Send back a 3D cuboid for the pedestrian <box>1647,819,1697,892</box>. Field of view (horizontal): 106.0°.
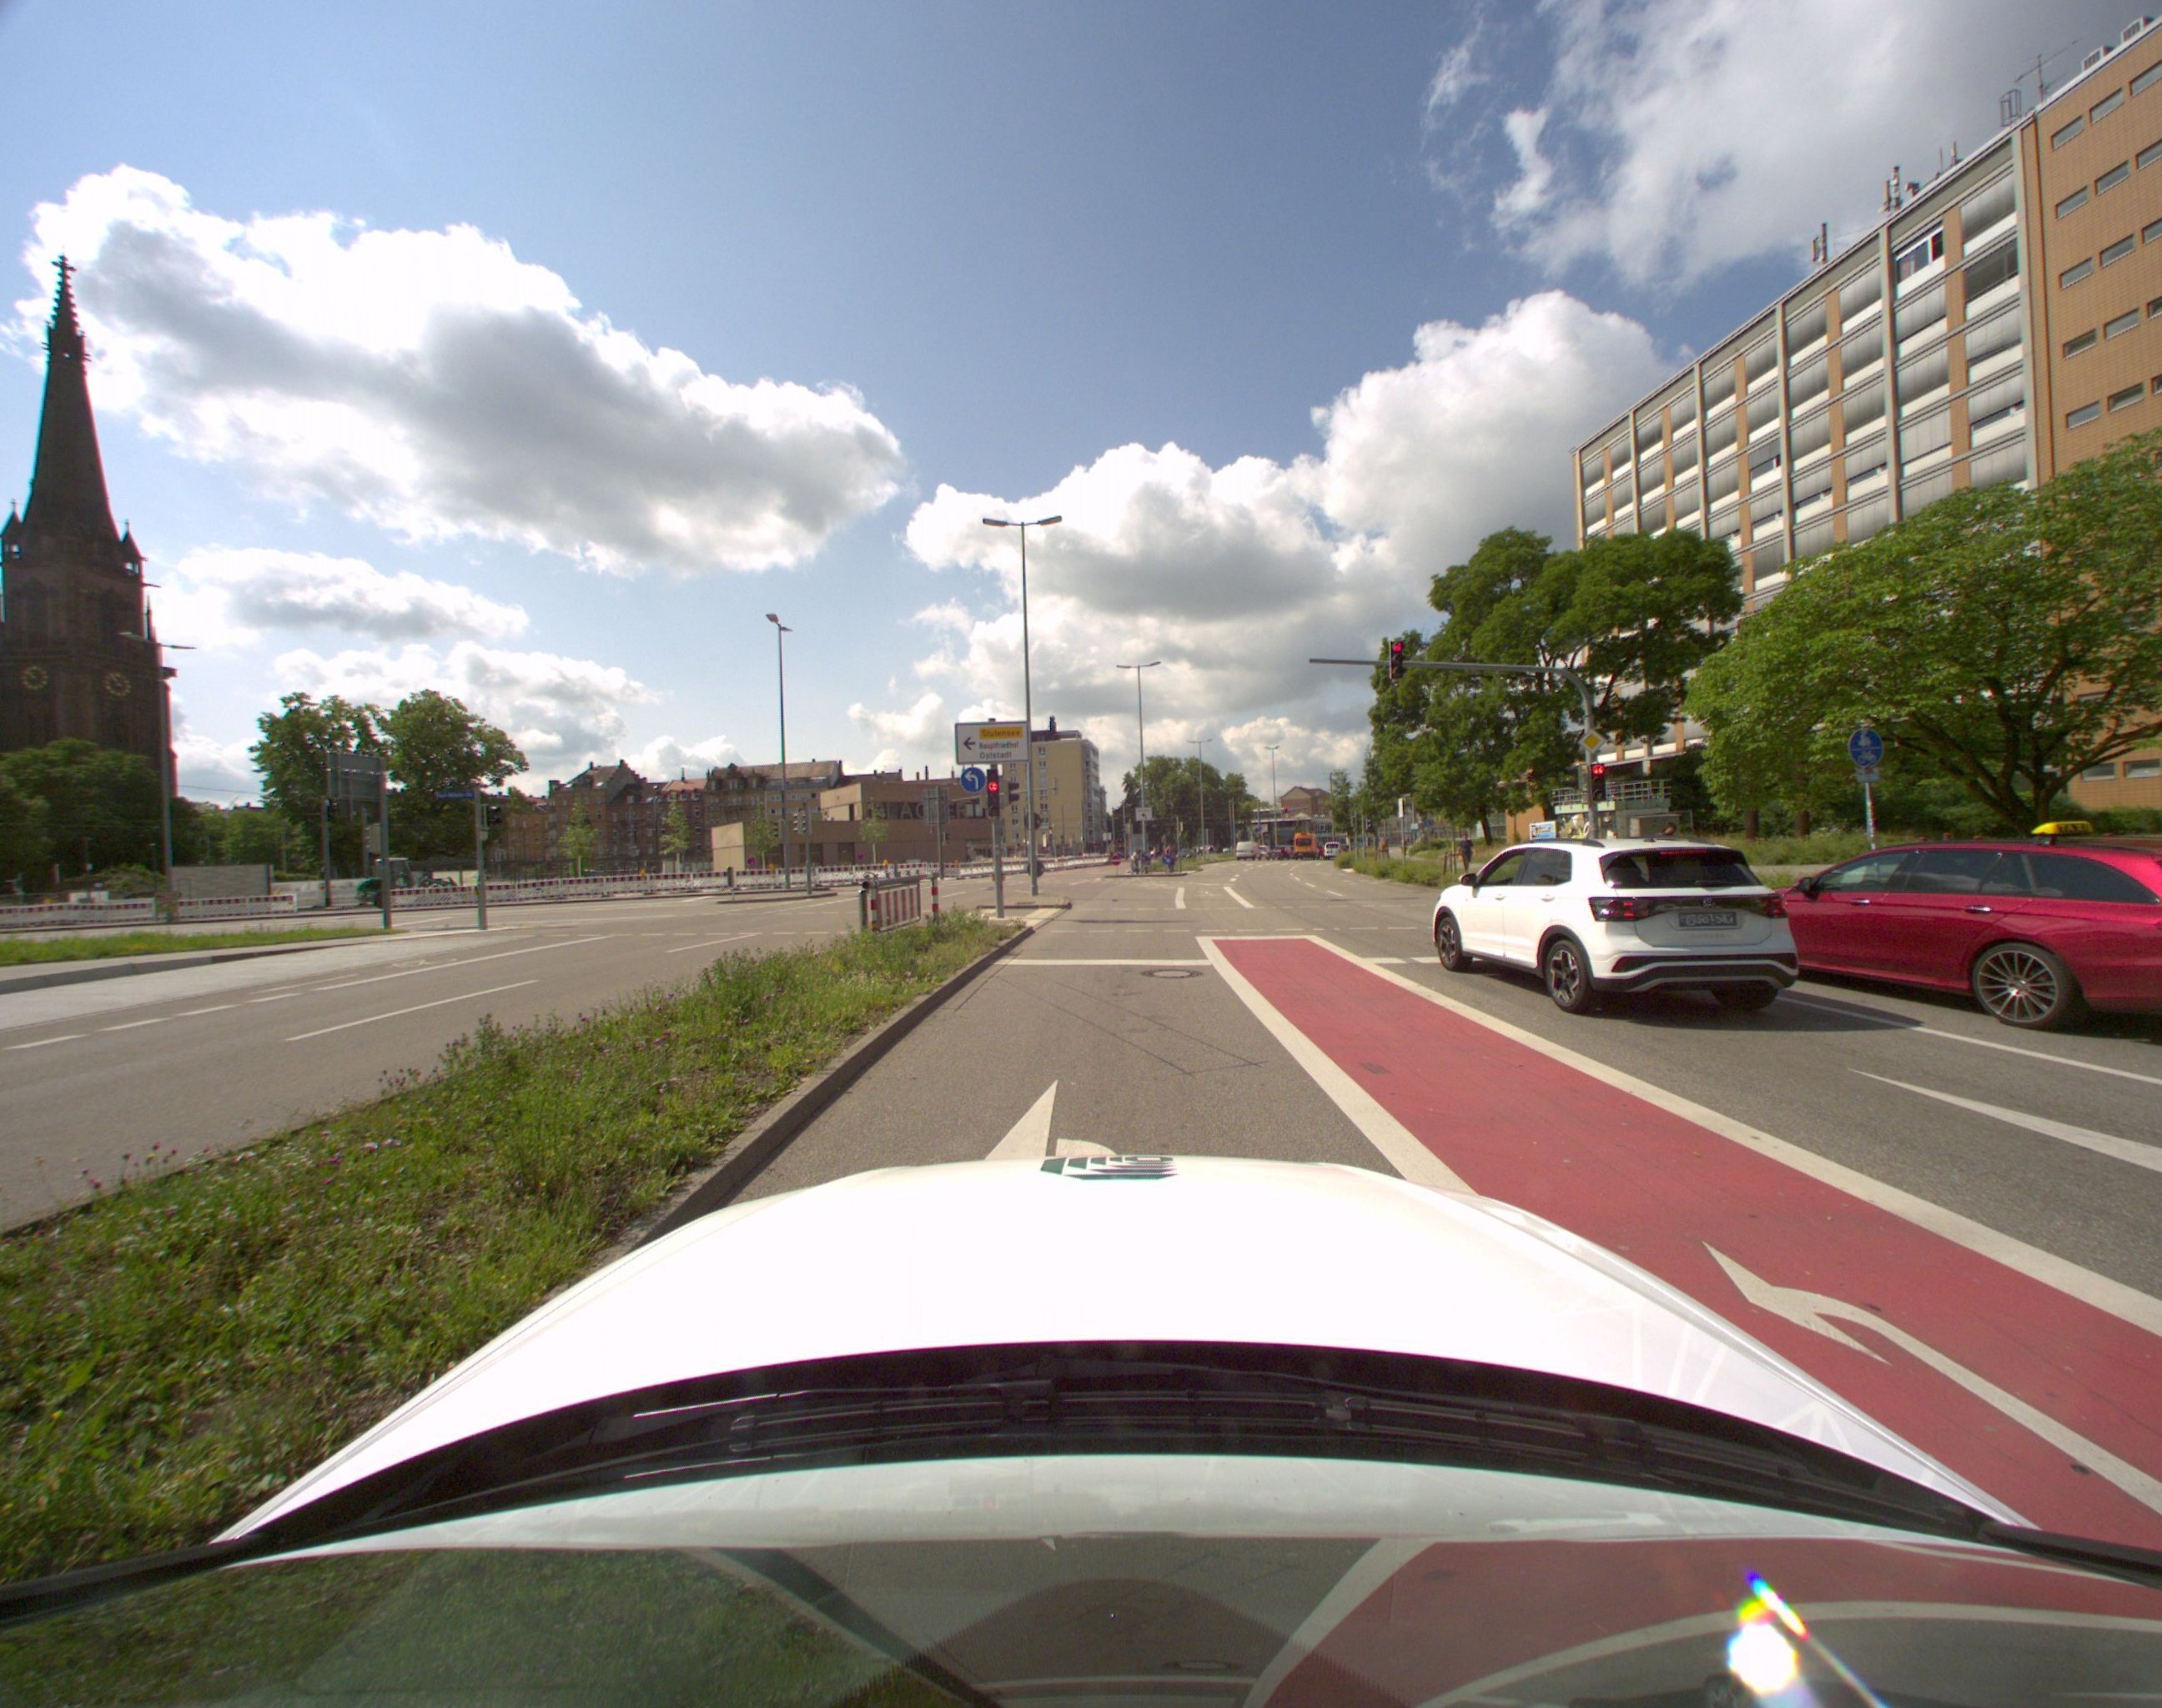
[{"bbox_3d":[14.482,0.041,19.970,0.737,1.735,0.681,-2,0,14],"label":"pedestrian"}]

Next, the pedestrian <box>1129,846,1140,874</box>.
[{"bbox_3d":[3.287,0.357,49.982,0.521,1.733,0.625,-2,0,10],"label":"pedestrian"}]

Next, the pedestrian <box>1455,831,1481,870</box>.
[{"bbox_3d":[15.535,-0.137,32.686,0.766,1.508,0.553,-2,0,6],"label":"pedestrian"}]

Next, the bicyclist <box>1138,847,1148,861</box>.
[{"bbox_3d":[8.542,0.017,112.263,1.209,1.909,0.863,-2,0,21],"label":"bicyclist"}]

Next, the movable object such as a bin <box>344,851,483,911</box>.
[{"bbox_3d":[-36.368,1.407,44.474,2.259,2.884,5.576,-3,0,44],"label":"movable object such as a bin"}]

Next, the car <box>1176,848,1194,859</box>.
[{"bbox_3d":[12.998,-0.084,101.688,1.779,1.388,4.243,-2,0,14],"label":"car"}]

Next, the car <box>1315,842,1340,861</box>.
[{"bbox_3d":[27.834,-0.330,92.028,1.973,1.938,4.665,-3,0,25],"label":"car"}]

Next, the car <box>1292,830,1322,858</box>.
[{"bbox_3d":[23.340,-1.038,84.024,2.110,2.780,4.665,-3,0,25],"label":"car"}]

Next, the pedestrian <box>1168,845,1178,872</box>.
[{"bbox_3d":[5.746,0.265,50.724,0.521,1.684,0.625,-2,0,10],"label":"pedestrian"}]

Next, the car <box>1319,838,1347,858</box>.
[{"bbox_3d":[25.431,-0.622,81.977,1.975,1.795,4.024,-3,0,26],"label":"car"}]

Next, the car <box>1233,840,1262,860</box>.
[{"bbox_3d":[17.742,-0.404,86.618,1.987,1.966,4.665,-3,0,25],"label":"car"}]

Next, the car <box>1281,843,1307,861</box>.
[{"bbox_3d":[24.403,-0.266,93.144,1.973,1.938,4.665,-3,0,25],"label":"car"}]

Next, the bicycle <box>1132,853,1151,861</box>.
[{"bbox_3d":[8.314,0.446,112.355,2.358,1.066,0.863,-2,0,21],"label":"bicycle"}]

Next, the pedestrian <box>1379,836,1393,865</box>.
[{"bbox_3d":[18.769,-0.198,50.146,0.655,1.733,0.580,-2,0,14],"label":"pedestrian"}]

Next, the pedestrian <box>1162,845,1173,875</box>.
[{"bbox_3d":[5.134,0.345,48.518,0.521,1.733,0.625,-2,0,10],"label":"pedestrian"}]

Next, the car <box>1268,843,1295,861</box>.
[{"bbox_3d":[21.548,-0.222,87.423,1.975,1.826,4.024,-3,0,26],"label":"car"}]

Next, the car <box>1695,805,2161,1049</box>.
[{"bbox_3d":[8.121,0.452,7.454,1.675,1.641,4.463,-2,0,1],"label":"car"}]

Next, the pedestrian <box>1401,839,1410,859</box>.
[{"bbox_3d":[29.875,-0.429,74.974,0.781,1.784,0.670,-2,0,22],"label":"pedestrian"}]

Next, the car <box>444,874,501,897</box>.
[{"bbox_3d":[-56.294,2.880,75.378,4.200,1.882,1.782,-2,0,-38],"label":"car"}]

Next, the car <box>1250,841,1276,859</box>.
[{"bbox_3d":[21.116,-0.452,94.327,1.973,1.938,4.665,-3,0,25],"label":"car"}]

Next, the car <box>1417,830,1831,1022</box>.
[{"bbox_3d":[5.225,0.569,8.603,1.784,1.539,4.012,-1,0,1],"label":"car"}]

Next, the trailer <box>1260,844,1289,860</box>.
[{"bbox_3d":[20.034,-0.176,84.283,1.975,1.477,4.024,-3,0,26],"label":"trailer"}]
